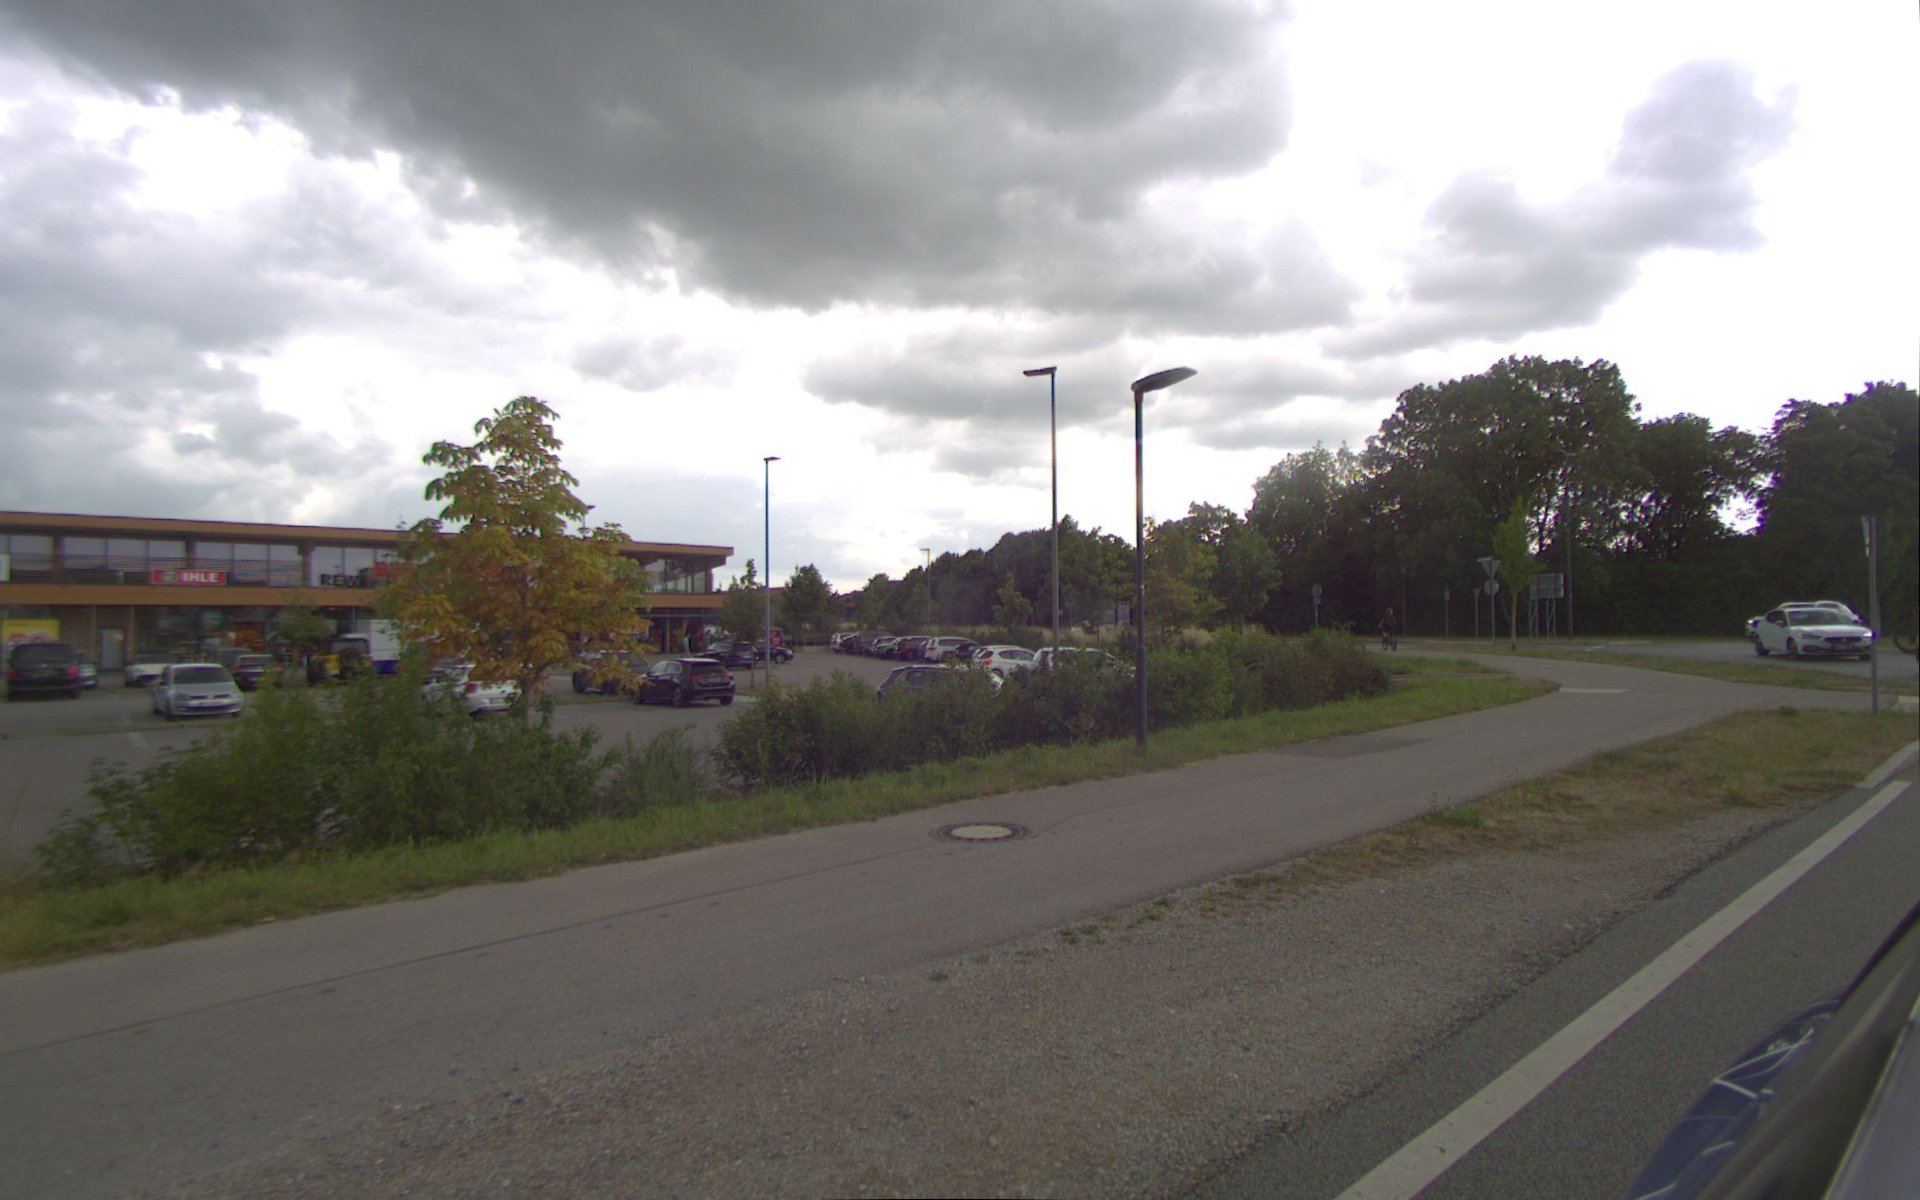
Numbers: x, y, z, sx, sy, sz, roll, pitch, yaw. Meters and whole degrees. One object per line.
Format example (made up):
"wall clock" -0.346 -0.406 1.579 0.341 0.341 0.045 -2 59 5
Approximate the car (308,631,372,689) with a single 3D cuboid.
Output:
"car" -25.371 2.384 41.347 1.962 2.039 4.000 0 0 -35

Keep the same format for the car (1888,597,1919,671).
"car" 21.311 0.719 20.414 1.847 1.608 5.032 -1 -1 18

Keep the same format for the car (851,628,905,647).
"car" -6.315 2.899 78.136 3.916 1.377 1.705 0 0 -13

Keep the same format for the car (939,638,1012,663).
"car" 0.868 2.887 58.141 3.916 1.377 1.705 0 0 -13

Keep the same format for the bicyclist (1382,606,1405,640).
"bicyclist" 16.190 0.845 37.800 0.545 1.259 0.659 1 0 0

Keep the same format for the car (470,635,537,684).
"car" -20.517 2.618 45.417 2.032 1.871 4.000 0 0 -35

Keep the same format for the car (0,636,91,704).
"car" -31.860 2.358 35.285 1.962 2.039 4.000 0 0 -35

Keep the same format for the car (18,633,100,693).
"car" -35.596 2.426 40.074 1.962 2.039 4.123 0 0 -35

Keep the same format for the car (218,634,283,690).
"car" -27.594 2.370 39.376 1.962 2.040 3.998 0 -3 -35

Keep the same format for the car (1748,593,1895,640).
"car" 32.839 0.597 38.726 3.967 1.705 1.979 1 0 31

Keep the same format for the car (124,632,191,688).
"car" -33.395 2.428 42.190 1.962 2.039 4.000 0 0 -35

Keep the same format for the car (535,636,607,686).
"car" -17.143 2.624 44.483 1.962 1.894 4.274 0 0 -35

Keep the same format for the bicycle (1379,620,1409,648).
"bicycle" 16.177 1.252 37.775 0.557 0.974 1.301 1 0 0

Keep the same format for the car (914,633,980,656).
"car" -0.839 2.844 64.634 3.916 1.377 1.705 0 0 -13

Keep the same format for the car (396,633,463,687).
"car" -22.685 2.500 43.215 2.032 2.039 4.000 0 0 -35

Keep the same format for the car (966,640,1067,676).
"car" 2.394 2.466 43.293 3.916 1.377 1.848 0 0 -13

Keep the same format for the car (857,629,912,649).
"car" -5.656 2.923 75.627 3.916 1.377 1.705 0 0 -13

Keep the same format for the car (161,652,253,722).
"car" -21.310 2.393 28.744 1.962 1.571 4.131 0 0 -35

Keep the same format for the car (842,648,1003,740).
"car" -0.950 2.101 23.661 1.629 1.727 3.993 0 0 -41

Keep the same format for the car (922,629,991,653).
"car" -0.244 2.472 61.477 3.916 1.377 1.705 0 0 -13

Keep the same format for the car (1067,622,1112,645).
"car" 11.260 2.885 88.042 1.959 1.794 4.080 0 0 -26

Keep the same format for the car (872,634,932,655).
"car" -4.000 3.054 69.907 3.916 1.377 1.705 0 0 -13

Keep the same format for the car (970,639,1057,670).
"car" 2.578 2.646 49.194 3.916 1.377 1.705 0 0 -13

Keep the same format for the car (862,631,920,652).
"car" -5.025 3.005 73.356 3.916 1.377 1.705 0 0 -13

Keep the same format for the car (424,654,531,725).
"car" -13.028 2.337 27.249 1.723 1.552 3.554 0 0 -41

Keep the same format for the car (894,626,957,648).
"car" -2.322 2.412 67.049 3.916 1.377 1.705 0 0 -13

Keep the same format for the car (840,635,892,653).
"car" -7.513 3.504 80.765 3.916 1.377 1.705 0 0 -13

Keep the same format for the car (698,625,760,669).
"car" -12.114 2.403 52.925 1.961 2.039 4.003 0 0 -32

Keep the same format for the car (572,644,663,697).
"car" -12.181 2.428 35.817 1.962 1.504 4.131 0 0 -35

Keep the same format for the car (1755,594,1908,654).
"car" 24.274 0.642 28.388 1.848 1.561 4.170 -1 -1 21

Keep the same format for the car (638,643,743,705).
"car" -8.242 2.212 30.764 1.771 1.728 3.385 0 -3 -41

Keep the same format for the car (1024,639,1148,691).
"car" 4.602 2.350 37.146 4.154 1.738 1.705 0 0 -13

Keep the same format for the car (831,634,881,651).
"car" -8.676 3.523 84.053 3.916 1.377 1.705 0 0 -13
